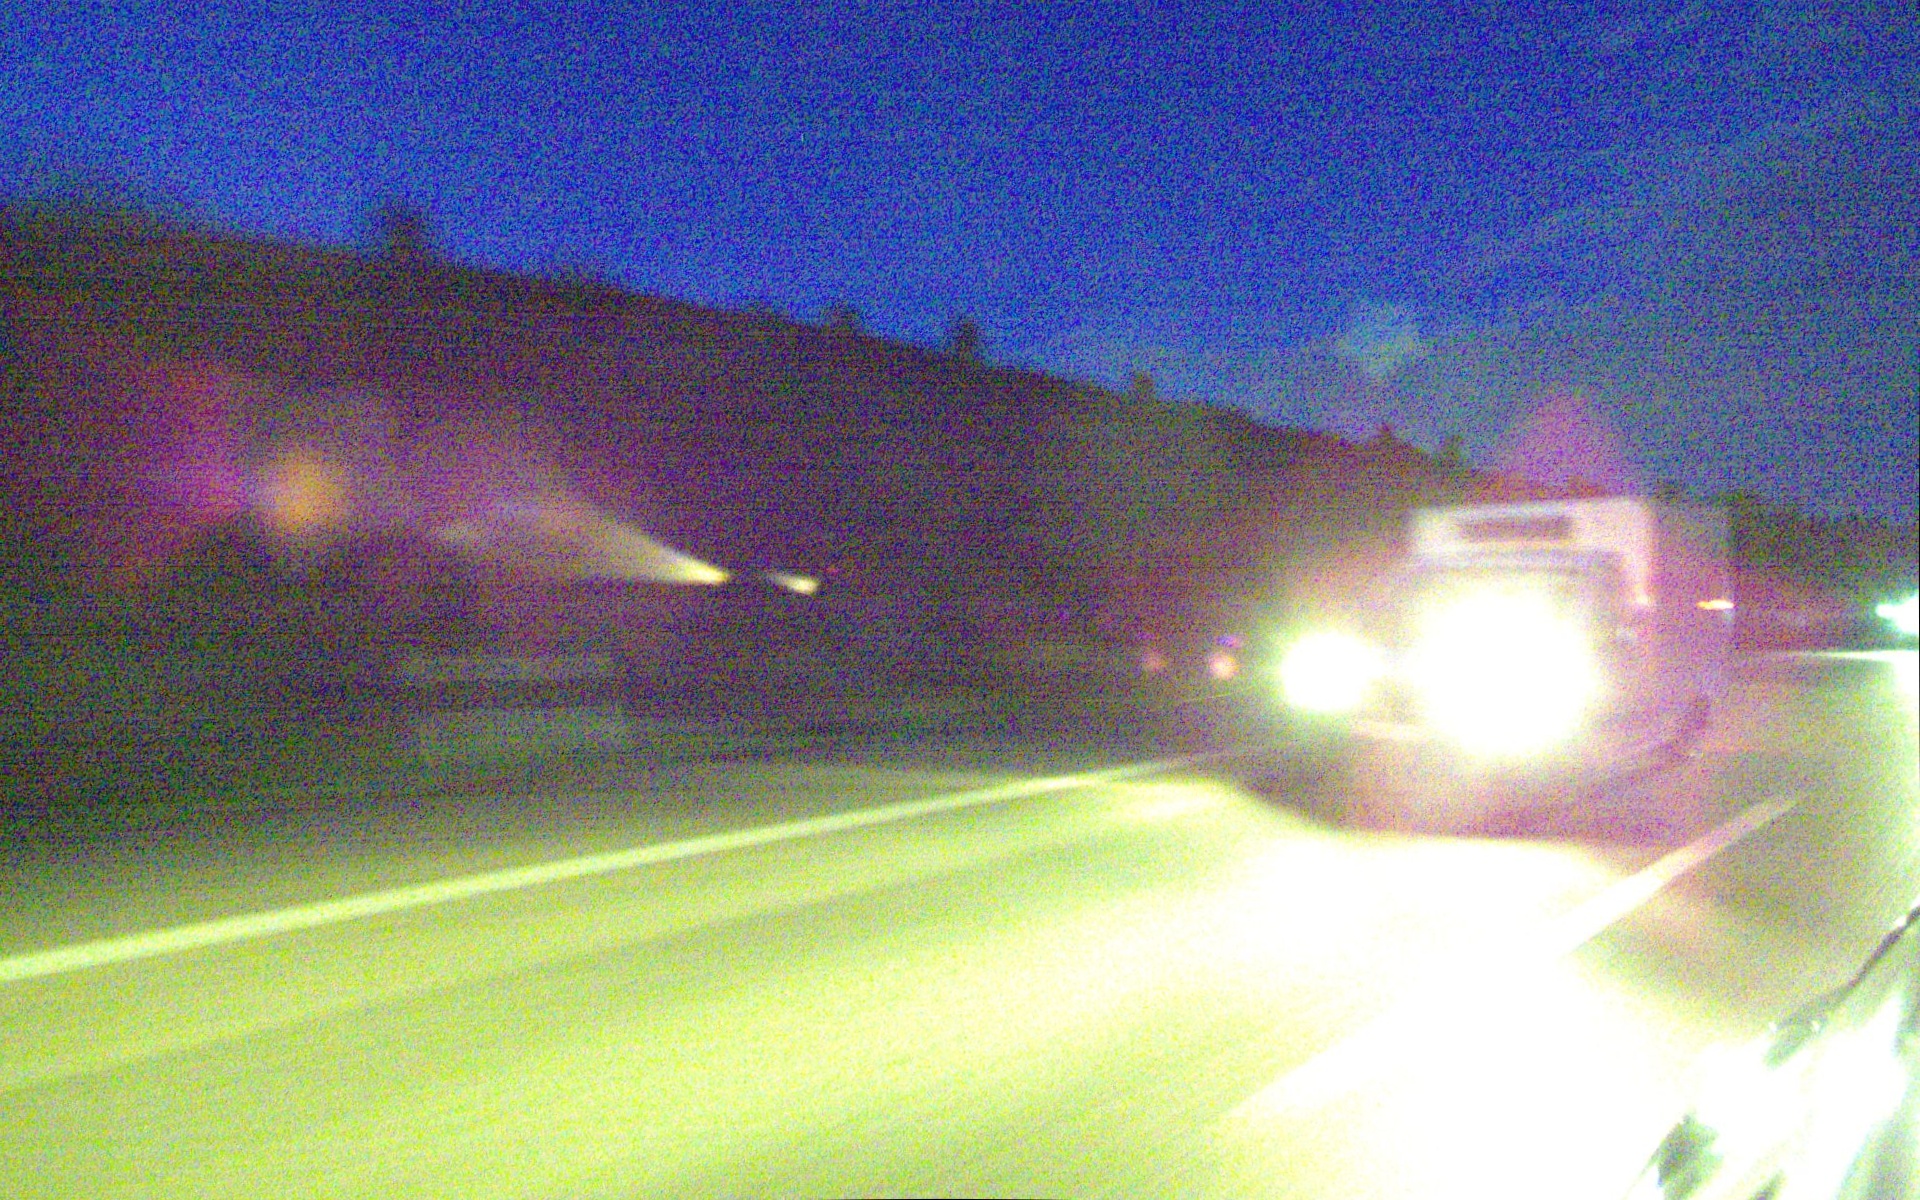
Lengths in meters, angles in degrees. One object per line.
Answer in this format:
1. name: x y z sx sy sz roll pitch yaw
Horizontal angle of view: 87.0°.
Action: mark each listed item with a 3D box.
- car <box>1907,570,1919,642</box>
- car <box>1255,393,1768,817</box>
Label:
1. car: 29.472 0.150 29.579 5.566 2.026 2.119 0 0 -41
2. car: 5.142 0.005 8.976 5.622 2.680 2.037 0 0 -39
